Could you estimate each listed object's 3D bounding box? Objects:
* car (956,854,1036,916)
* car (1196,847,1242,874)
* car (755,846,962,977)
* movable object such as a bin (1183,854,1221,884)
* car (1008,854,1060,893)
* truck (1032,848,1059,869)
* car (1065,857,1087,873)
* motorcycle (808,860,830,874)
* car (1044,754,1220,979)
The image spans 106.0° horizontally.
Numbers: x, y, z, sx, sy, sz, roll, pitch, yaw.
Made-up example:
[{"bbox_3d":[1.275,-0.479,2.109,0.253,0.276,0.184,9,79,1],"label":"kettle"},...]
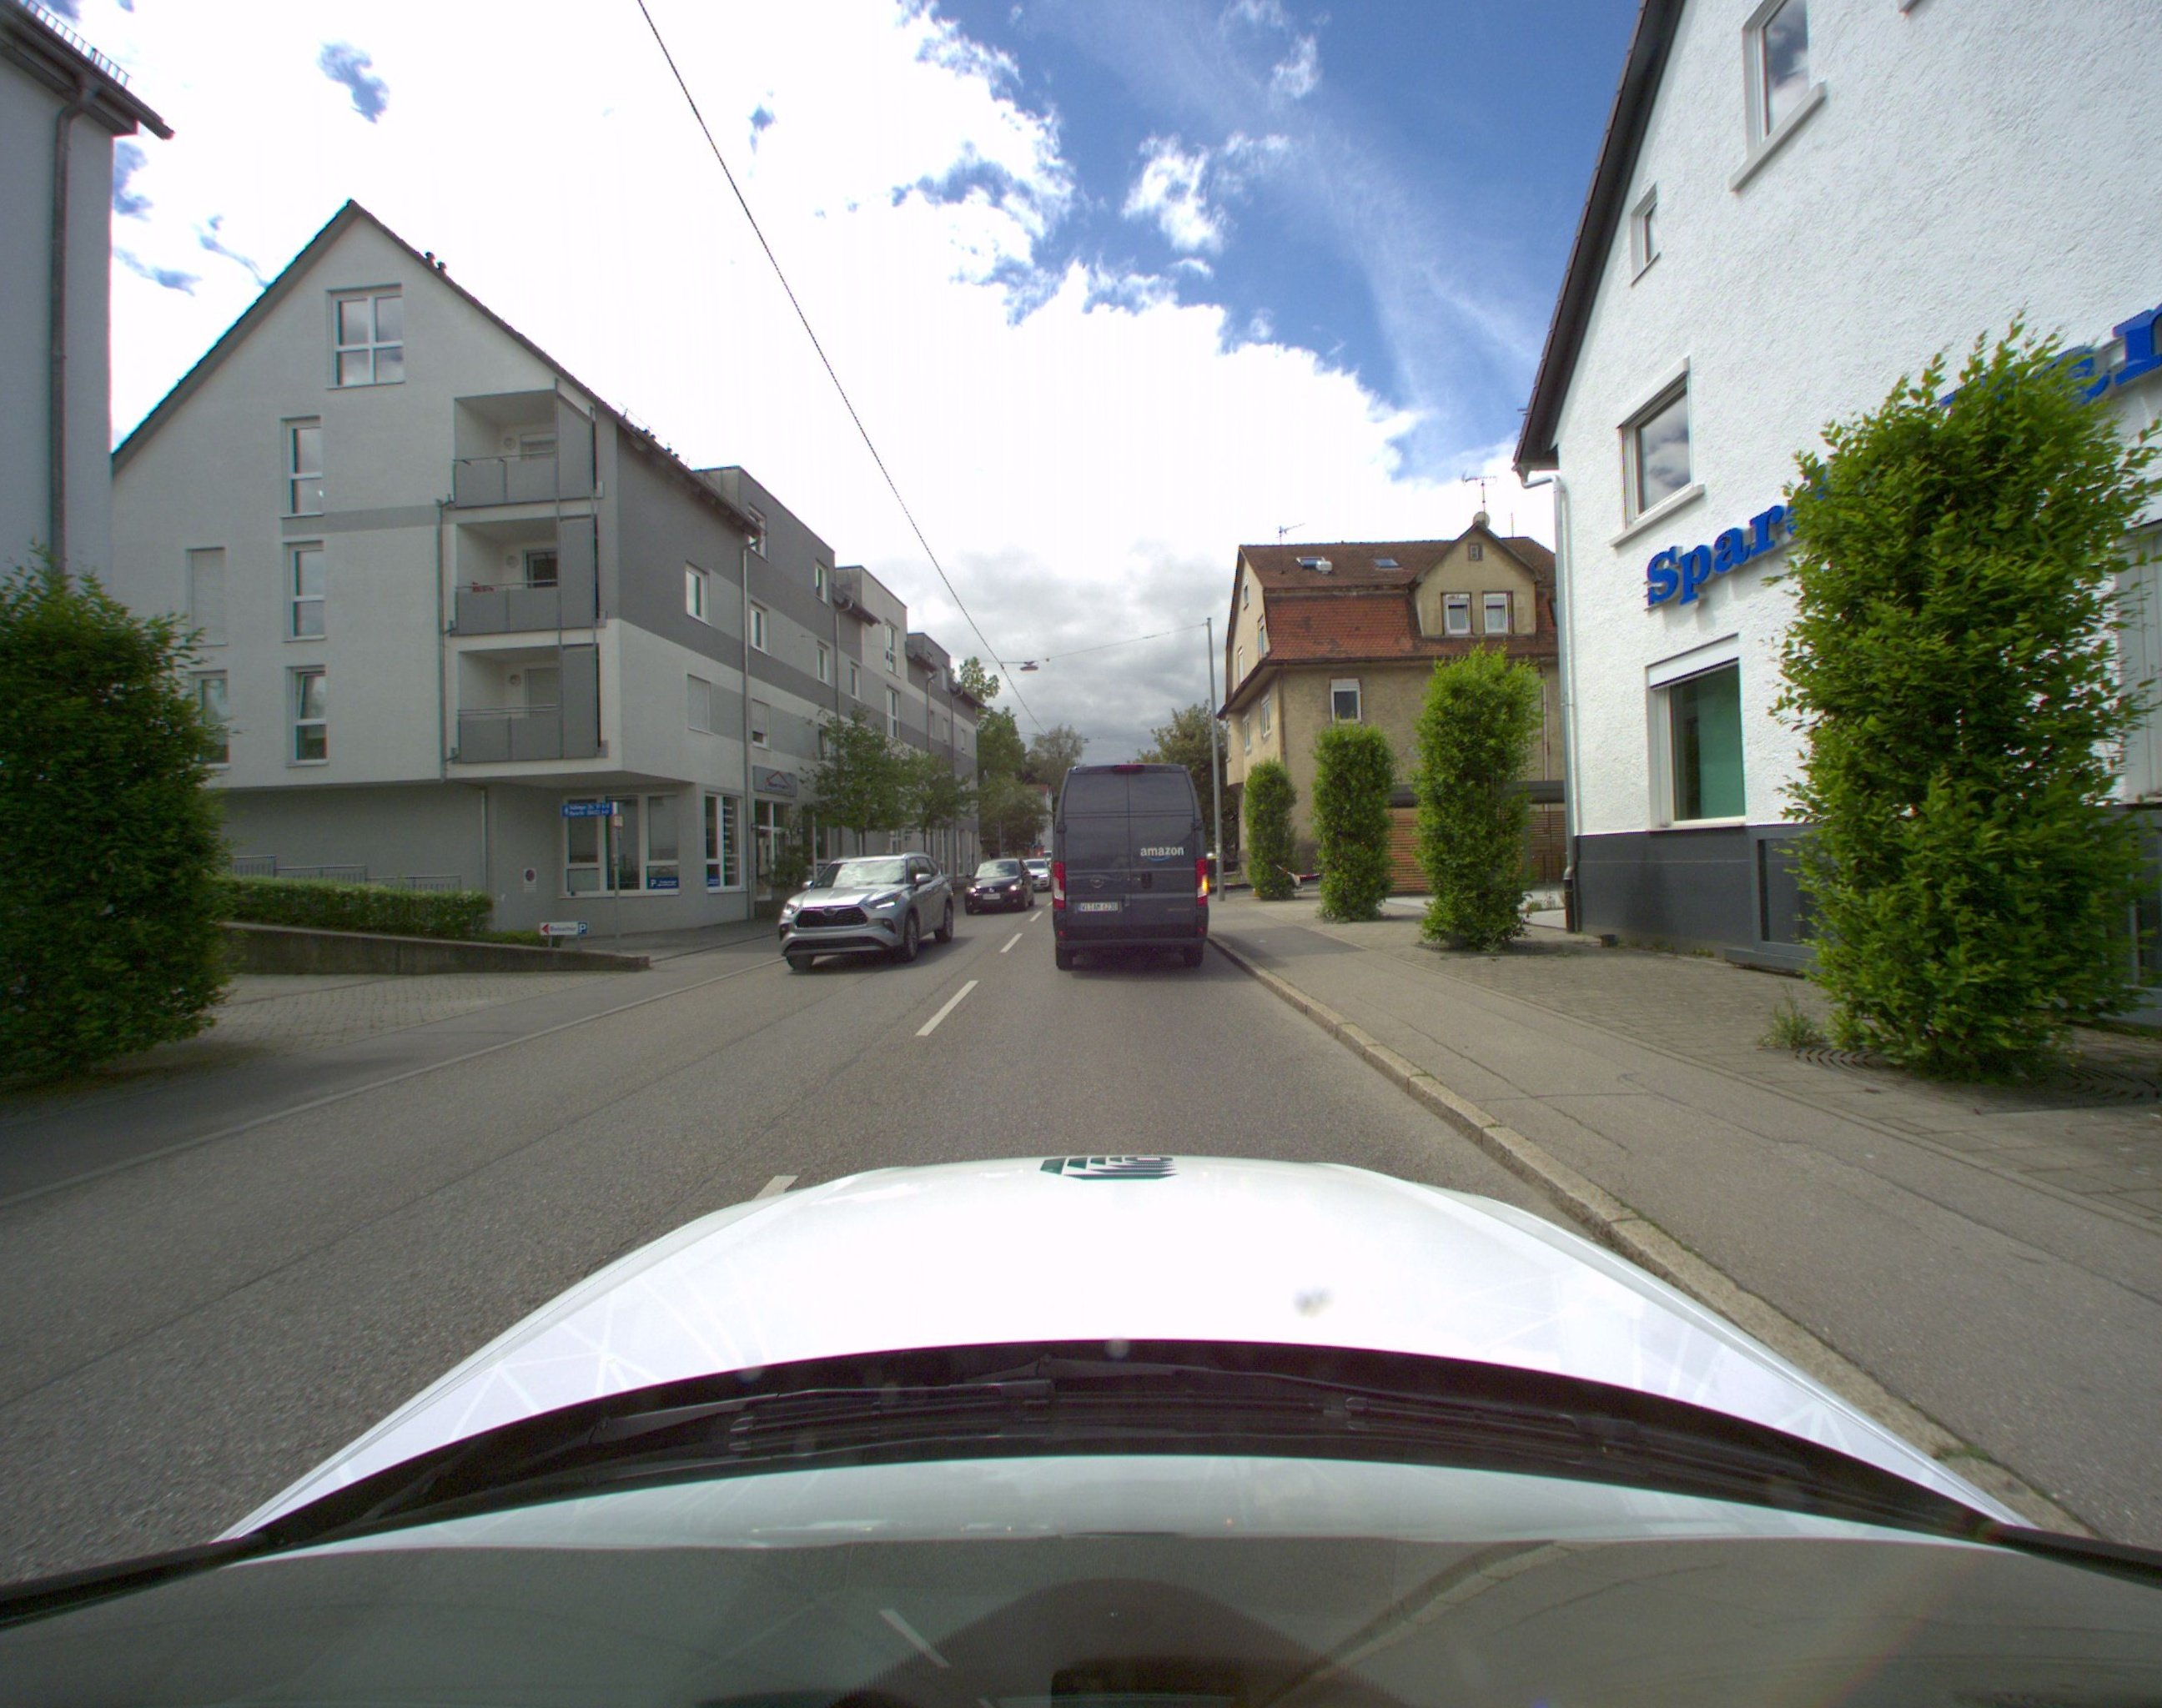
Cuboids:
[{"bbox_3d":[-2.433,0.845,24.283,1.825,1.584,4.038,-3,0,1],"label":"car"},{"bbox_3d":[9.284,0.397,54.495,1.735,1.517,4.104,-5,0,28],"label":"car"},{"bbox_3d":[-3.540,0.838,14.052,1.979,1.737,4.798,-4,0,2],"label":"car"},{"bbox_3d":[5.399,0.657,36.393,1.189,1.266,1.198,-1,0,-28],"label":"movable object such as a bin"},{"bbox_3d":[-2.137,0.874,38.158,1.890,1.559,4.802,-4,0,2],"label":"car"},{"bbox_3d":[-4.263,0.571,98.867,2.213,2.380,6.337,-1,-1,6],"label":"truck"},{"bbox_3d":[-0.469,1.048,80.023,1.866,1.424,4.119,-1,0,3],"label":"car"},{"bbox_3d":[-19.615,0.950,60.912,1.201,1.004,2.331,-1,0,-9],"label":"motorcycle"},{"bbox_3d":[0.650,0.162,13.334,2.141,2.770,6.248,-1,0,0],"label":"car"}]
